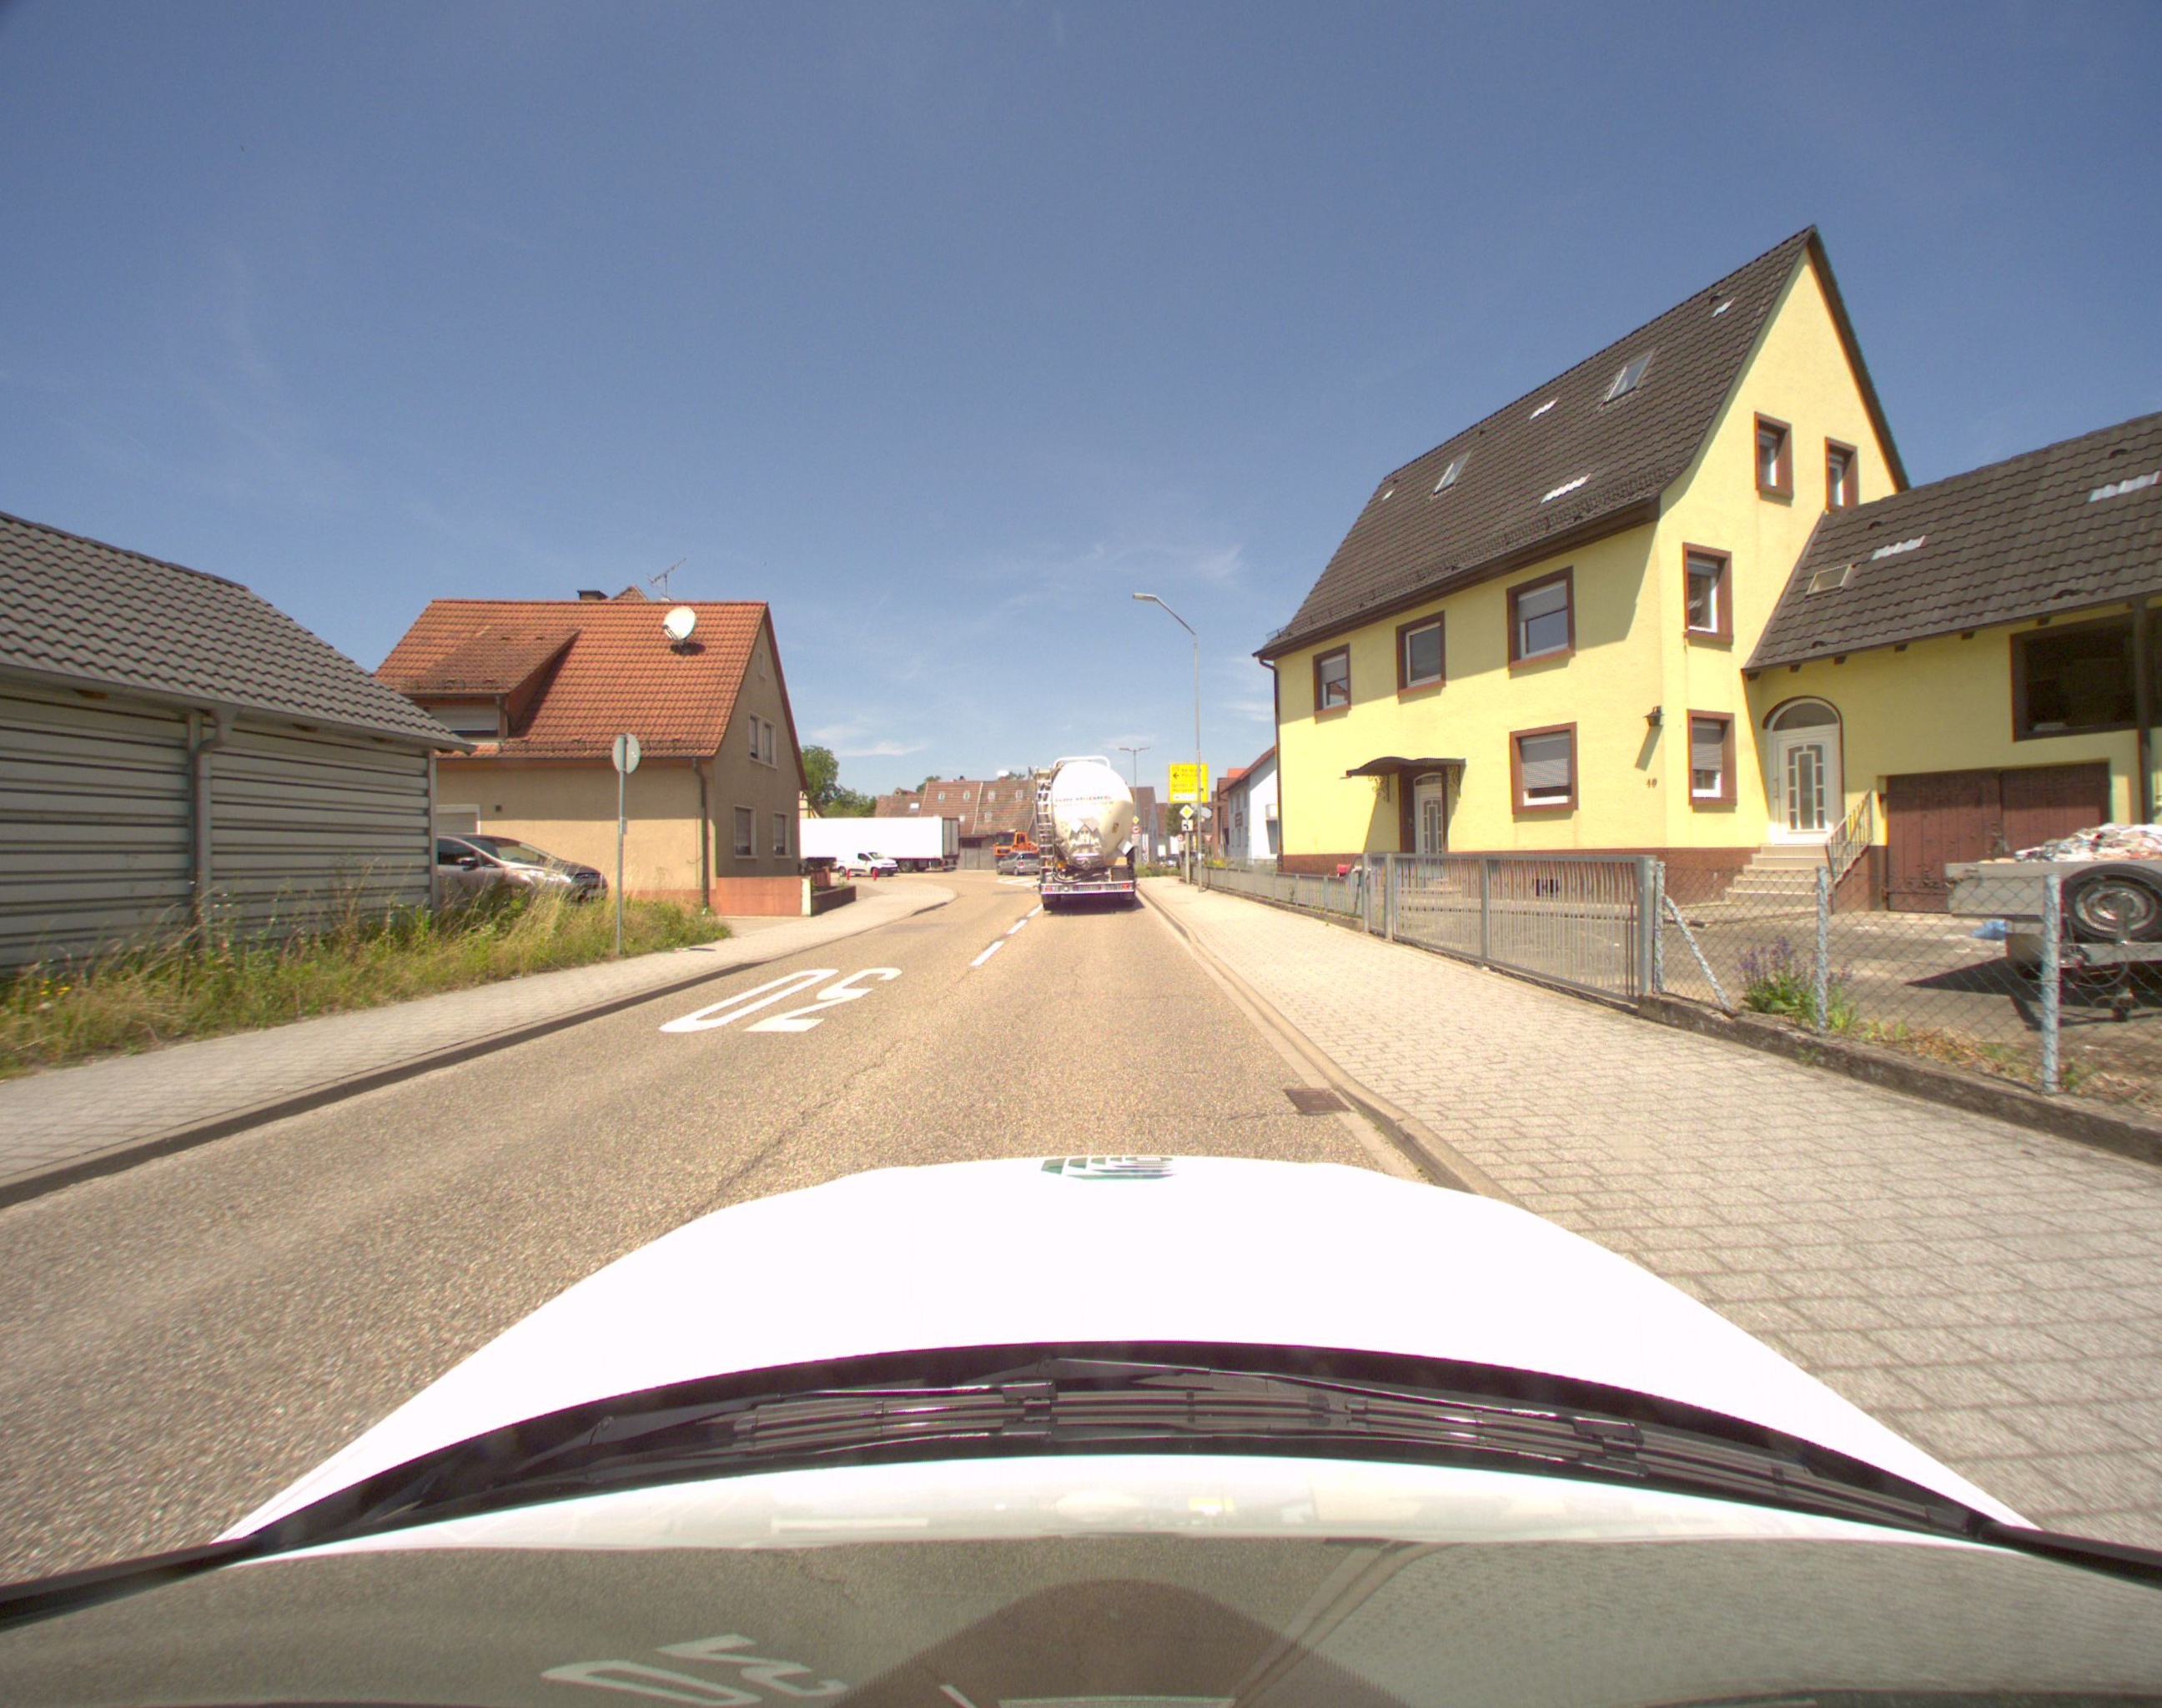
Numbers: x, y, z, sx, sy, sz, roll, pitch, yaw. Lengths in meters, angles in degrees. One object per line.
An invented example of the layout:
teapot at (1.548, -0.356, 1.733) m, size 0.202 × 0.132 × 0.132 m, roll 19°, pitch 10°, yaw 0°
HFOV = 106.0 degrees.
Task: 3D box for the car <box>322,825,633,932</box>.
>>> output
car at (-10.545, 0.414, 14.444) m, size 4.108 × 1.638 × 1.867 m, roll -2°, pitch 0°, yaw 2°

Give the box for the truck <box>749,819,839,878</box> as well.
truck at (-22.197, -0.388, 63.061) m, size 5.869 × 4.401 × 3.128 m, roll -1°, pitch -1°, yaw 17°

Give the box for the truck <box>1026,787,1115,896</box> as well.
truck at (-0.563, -0.406, 32.653) m, size 2.985 × 3.965 × 5.564 m, roll 1°, pitch -1°, yaw -7°

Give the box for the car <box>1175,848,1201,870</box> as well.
car at (10.010, 0.527, 75.913) m, size 1.979 × 1.912 × 4.339 m, roll 0°, pitch -2°, yaw 13°

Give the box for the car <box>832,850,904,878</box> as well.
car at (-14.512, 0.665, 55.448) m, size 4.467 × 1.785 × 1.890 m, roll 0°, pitch 1°, yaw 22°

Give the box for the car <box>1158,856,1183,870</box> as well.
car at (11.527, 1.193, 104.113) m, size 1.976 × 1.675 × 4.336 m, roll 0°, pitch -1°, yaw 24°

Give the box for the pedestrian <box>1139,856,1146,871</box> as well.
pedestrian at (8.402, 1.274, 111.388) m, size 0.762 × 2.014 × 0.982 m, roll 0°, pitch 0°, yaw 22°

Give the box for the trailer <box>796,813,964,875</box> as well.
trailer at (-15.083, -0.664, 60.996) m, size 12.355 × 4.277 × 3.156 m, roll -1°, pitch -1°, yaw 17°

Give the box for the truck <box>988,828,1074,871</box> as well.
truck at (-3.899, -0.255, 65.251) m, size 2.635 × 3.181 × 7.509 m, roll -2°, pitch -2°, yaw 37°

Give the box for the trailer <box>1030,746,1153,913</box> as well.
trailer at (-0.074, -0.541, 25.222) m, size 2.946 × 3.948 × 11.603 m, roll 0°, pitch 0°, yaw -3°

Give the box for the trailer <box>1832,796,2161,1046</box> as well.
trailer at (8.835, 0.414, 6.779) m, size 5.377 × 1.546 × 2.119 m, roll 0°, pitch -1°, yaw -28°

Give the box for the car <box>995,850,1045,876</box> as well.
car at (-3.996, 0.614, 52.609) m, size 1.793 × 1.585 × 3.570 m, roll -1°, pitch -1°, yaw -31°
